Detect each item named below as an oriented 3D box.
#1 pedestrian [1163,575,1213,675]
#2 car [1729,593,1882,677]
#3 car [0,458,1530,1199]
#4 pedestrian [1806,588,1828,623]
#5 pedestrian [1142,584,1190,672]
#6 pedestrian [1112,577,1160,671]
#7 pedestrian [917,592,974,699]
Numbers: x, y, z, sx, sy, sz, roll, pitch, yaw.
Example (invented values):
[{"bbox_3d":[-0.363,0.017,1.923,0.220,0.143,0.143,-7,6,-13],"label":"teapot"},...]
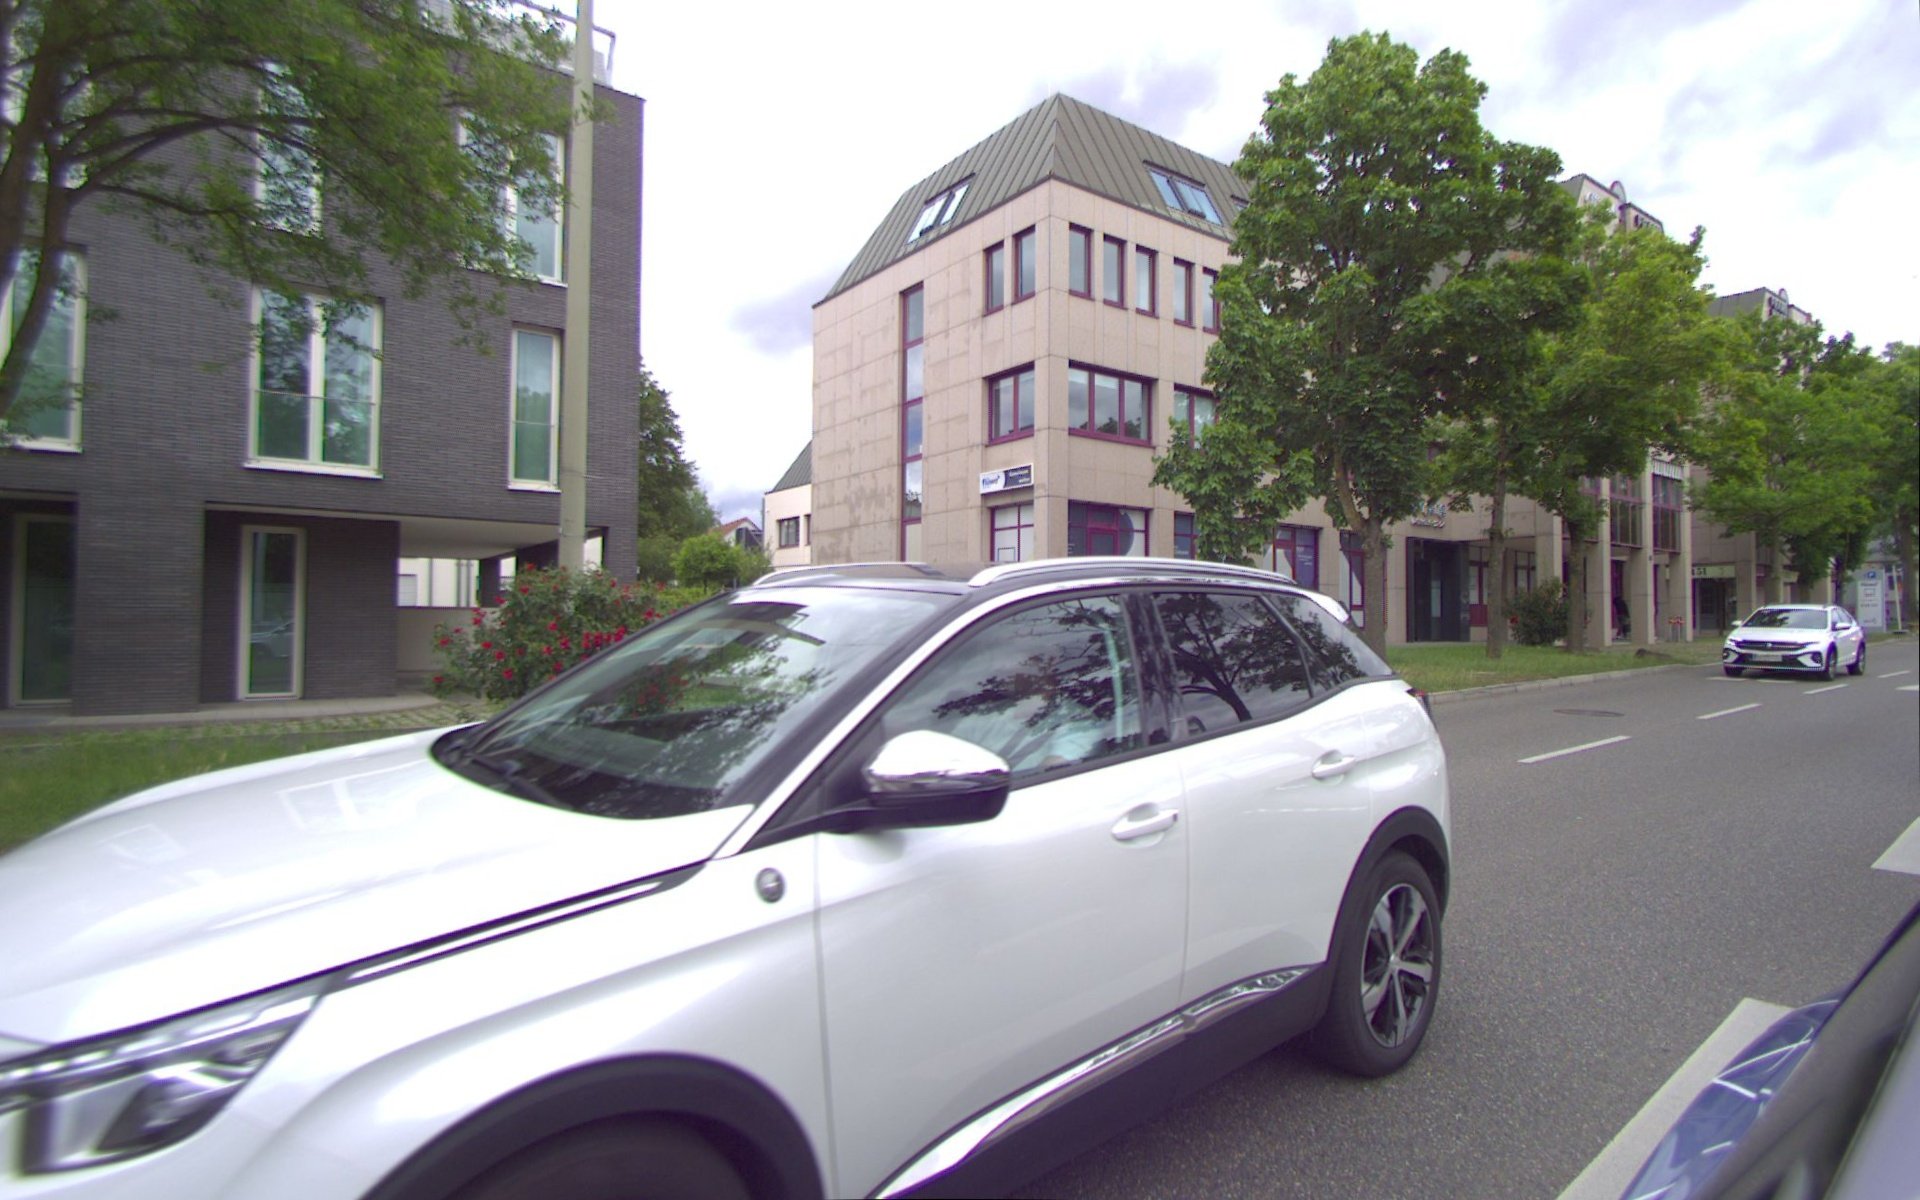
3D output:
[{"bbox_3d":[4.291,0.465,19.042,0.665,1.828,0.642,0,-1,-41],"label":"pedestrian"},{"bbox_3d":[17.721,0.656,21.168,4.016,1.575,1.720,0,0,-39],"label":"car"},{"bbox_3d":[-0.117,0.646,3.031,4.238,1.616,1.858,0,1,-41],"label":"car"},{"bbox_3d":[43.649,0.276,51.537,0.817,1.769,0.718,0,0,-40],"label":"pedestrian"},{"bbox_3d":[3.985,0.526,19.608,0.665,1.668,0.642,0,-1,-41],"label":"pedestrian"},{"bbox_3d":[3.492,0.461,20.082,0.665,1.828,0.642,0,-1,-41],"label":"pedestrian"},{"bbox_3d":[-0.219,0.661,15.181,0.665,1.537,0.496,0,2,-41],"label":"pedestrian"}]
